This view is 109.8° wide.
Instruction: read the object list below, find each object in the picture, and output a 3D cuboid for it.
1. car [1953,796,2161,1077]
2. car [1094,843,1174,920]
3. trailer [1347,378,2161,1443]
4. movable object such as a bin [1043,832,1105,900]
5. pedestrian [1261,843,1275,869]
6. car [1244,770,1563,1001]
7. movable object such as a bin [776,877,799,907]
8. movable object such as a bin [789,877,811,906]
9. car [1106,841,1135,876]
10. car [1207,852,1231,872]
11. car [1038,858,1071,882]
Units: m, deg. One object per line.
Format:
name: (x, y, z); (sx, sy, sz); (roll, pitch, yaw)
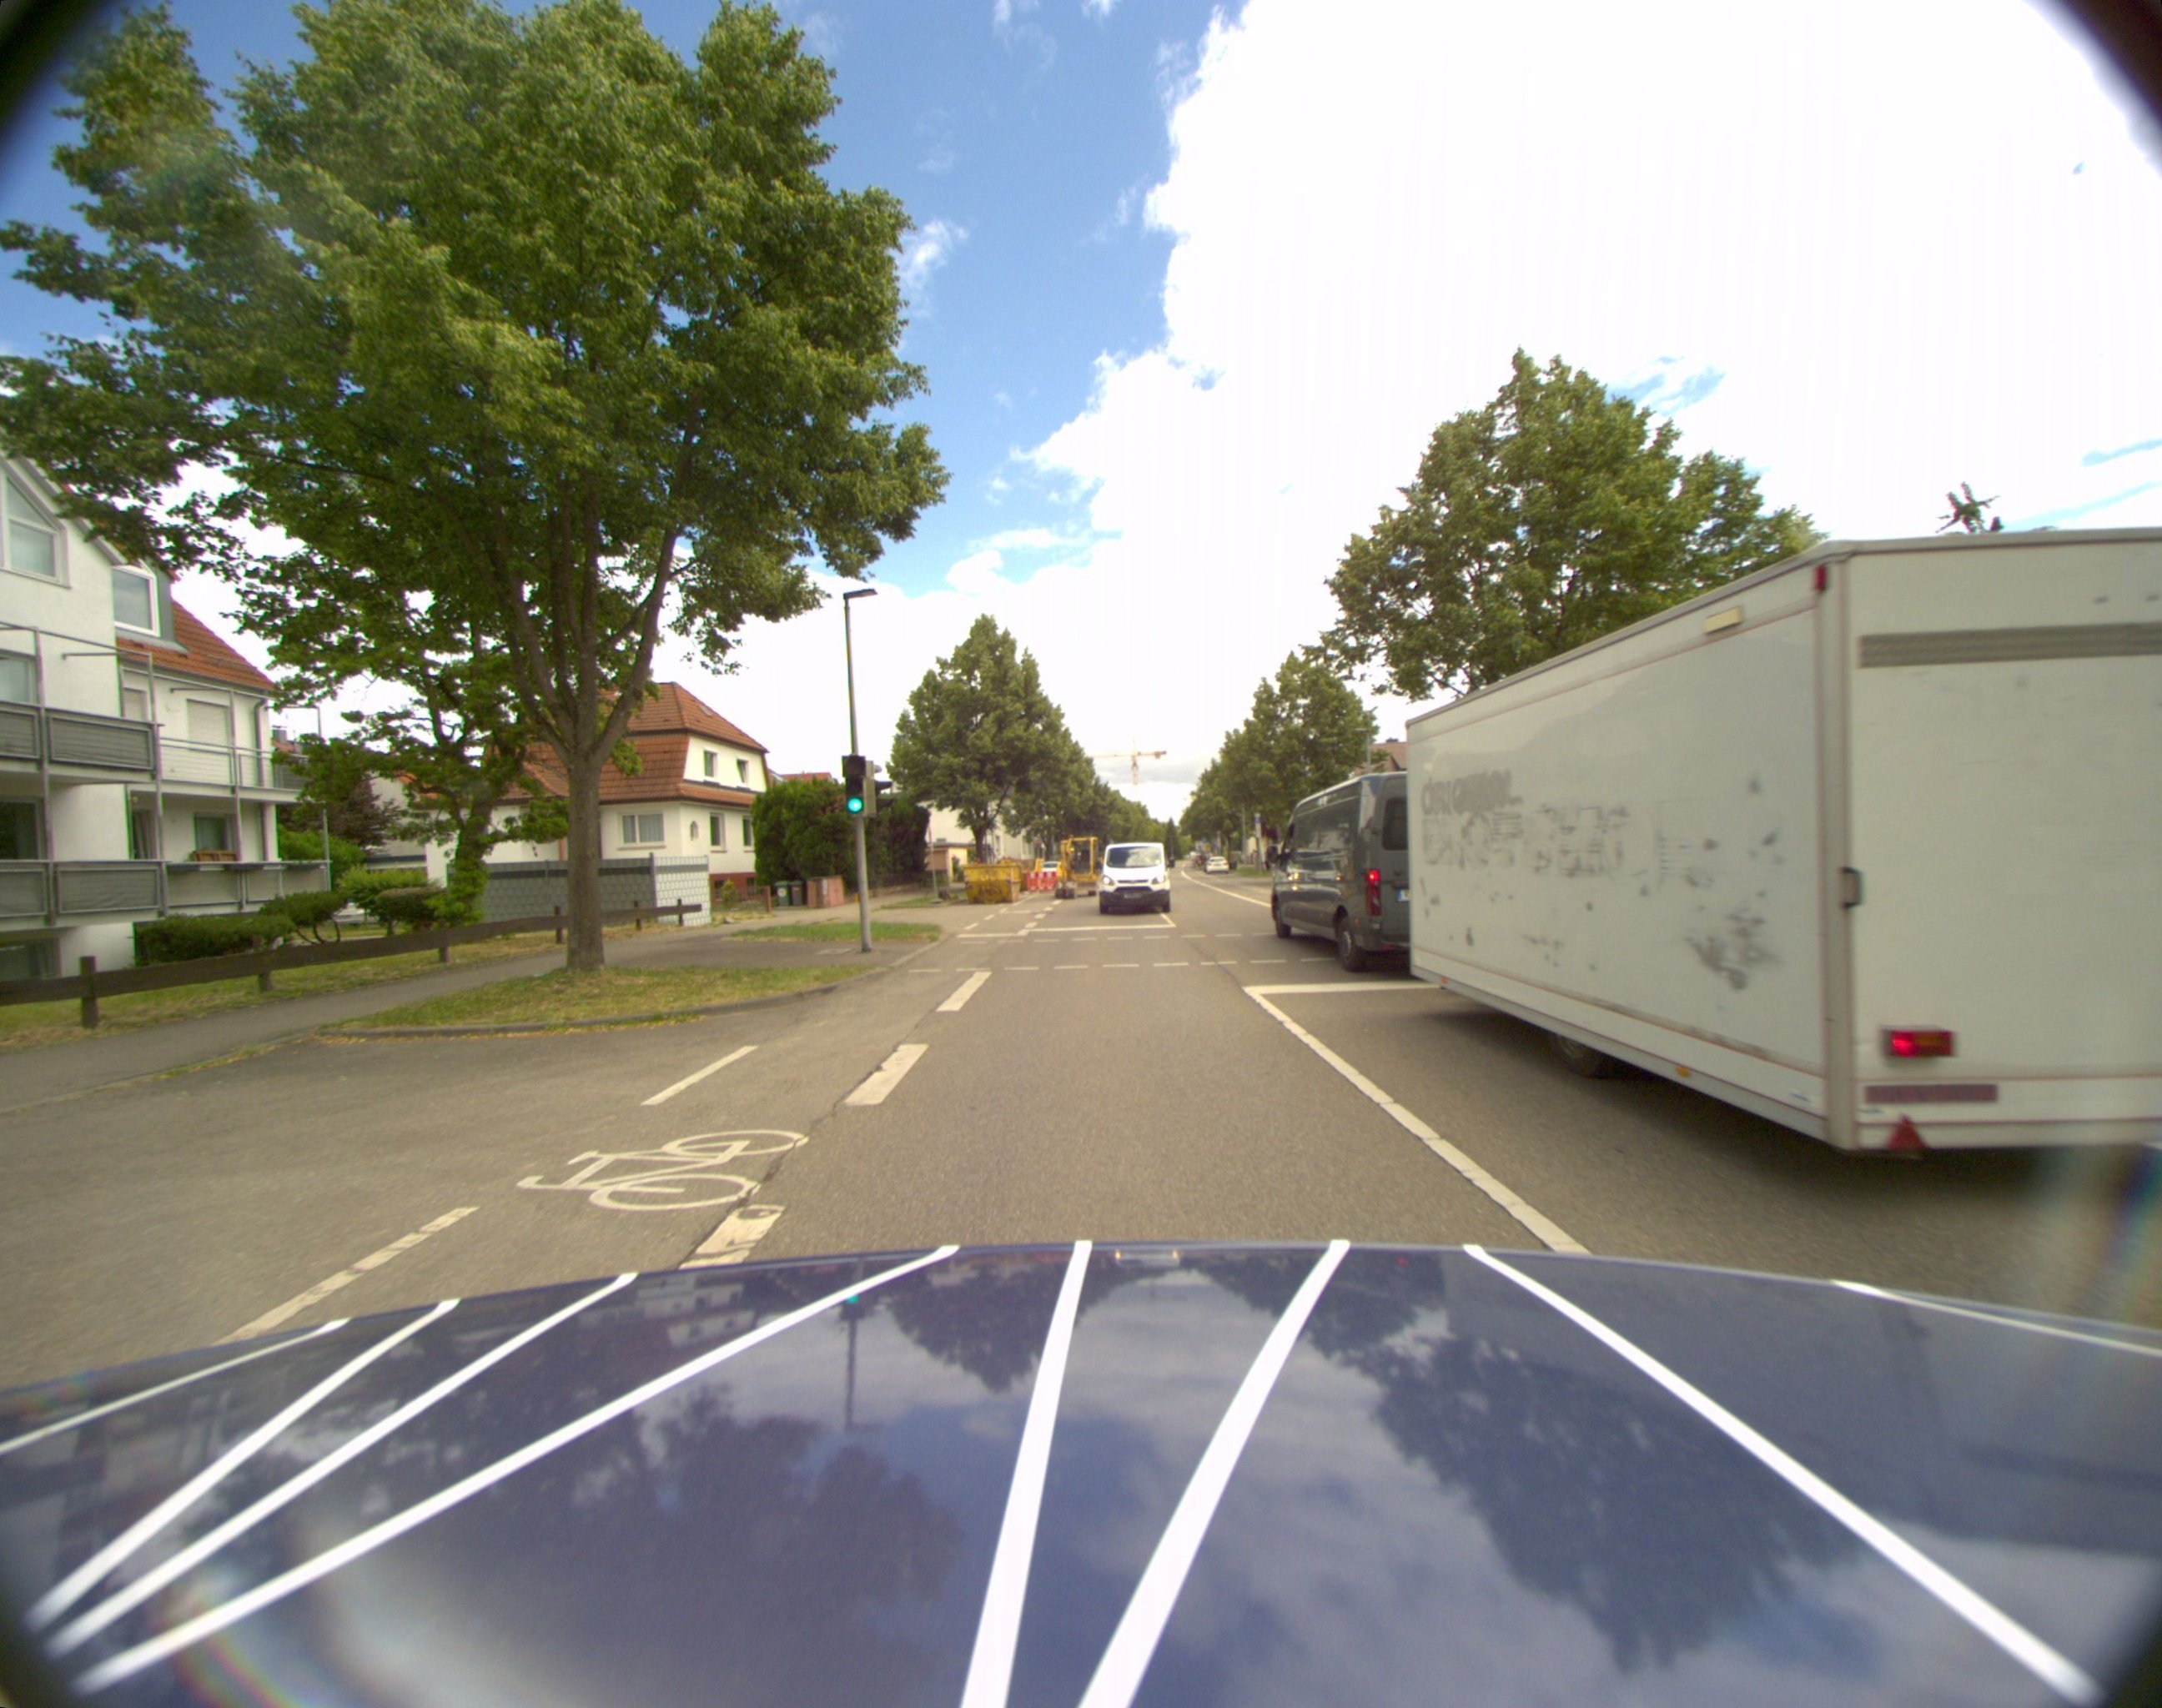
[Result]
car: (7.994, 0.520, 4.022); (1.711, 1.863, 4.398); (-2, 0, 1)
car: (1.730, 0.722, 22.852); (1.997, 2.002, 5.321); (-2, 0, 7)
trailer: (4.243, 0.136, 4.871); (2.641, 2.862, 6.871); (-2, 0, 0)
movable object such as a bin: (-0.215, 0.463, 31.565); (1.998, 2.550, 4.549); (-2, 0, 6)
pedestrian: (14.969, 0.173, 60.851); (0.825, 2.002, 0.998); (-2, 0, 3)
car: (4.219, 0.347, 11.501); (2.064, 2.465, 6.313); (-2, 0, 0)
movable object such as a bin: (-10.791, 1.400, 27.952); (0.540, 1.052, 0.519); (-2, 0, 15)
movable object such as a bin: (-10.273, 1.370, 27.814); (0.499, 1.038, 0.520); (-2, 0, 14)
car: (3.138, 0.372, 59.712); (1.998, 2.584, 4.002); (-3, 0, 6)
car: (11.635, 0.645, 64.031); (1.890, 1.565, 4.003); (-2, 0, 11)
car: (-1.839, 1.105, 54.487); (1.821, 1.576, 4.050); (-2, 0, 6)
